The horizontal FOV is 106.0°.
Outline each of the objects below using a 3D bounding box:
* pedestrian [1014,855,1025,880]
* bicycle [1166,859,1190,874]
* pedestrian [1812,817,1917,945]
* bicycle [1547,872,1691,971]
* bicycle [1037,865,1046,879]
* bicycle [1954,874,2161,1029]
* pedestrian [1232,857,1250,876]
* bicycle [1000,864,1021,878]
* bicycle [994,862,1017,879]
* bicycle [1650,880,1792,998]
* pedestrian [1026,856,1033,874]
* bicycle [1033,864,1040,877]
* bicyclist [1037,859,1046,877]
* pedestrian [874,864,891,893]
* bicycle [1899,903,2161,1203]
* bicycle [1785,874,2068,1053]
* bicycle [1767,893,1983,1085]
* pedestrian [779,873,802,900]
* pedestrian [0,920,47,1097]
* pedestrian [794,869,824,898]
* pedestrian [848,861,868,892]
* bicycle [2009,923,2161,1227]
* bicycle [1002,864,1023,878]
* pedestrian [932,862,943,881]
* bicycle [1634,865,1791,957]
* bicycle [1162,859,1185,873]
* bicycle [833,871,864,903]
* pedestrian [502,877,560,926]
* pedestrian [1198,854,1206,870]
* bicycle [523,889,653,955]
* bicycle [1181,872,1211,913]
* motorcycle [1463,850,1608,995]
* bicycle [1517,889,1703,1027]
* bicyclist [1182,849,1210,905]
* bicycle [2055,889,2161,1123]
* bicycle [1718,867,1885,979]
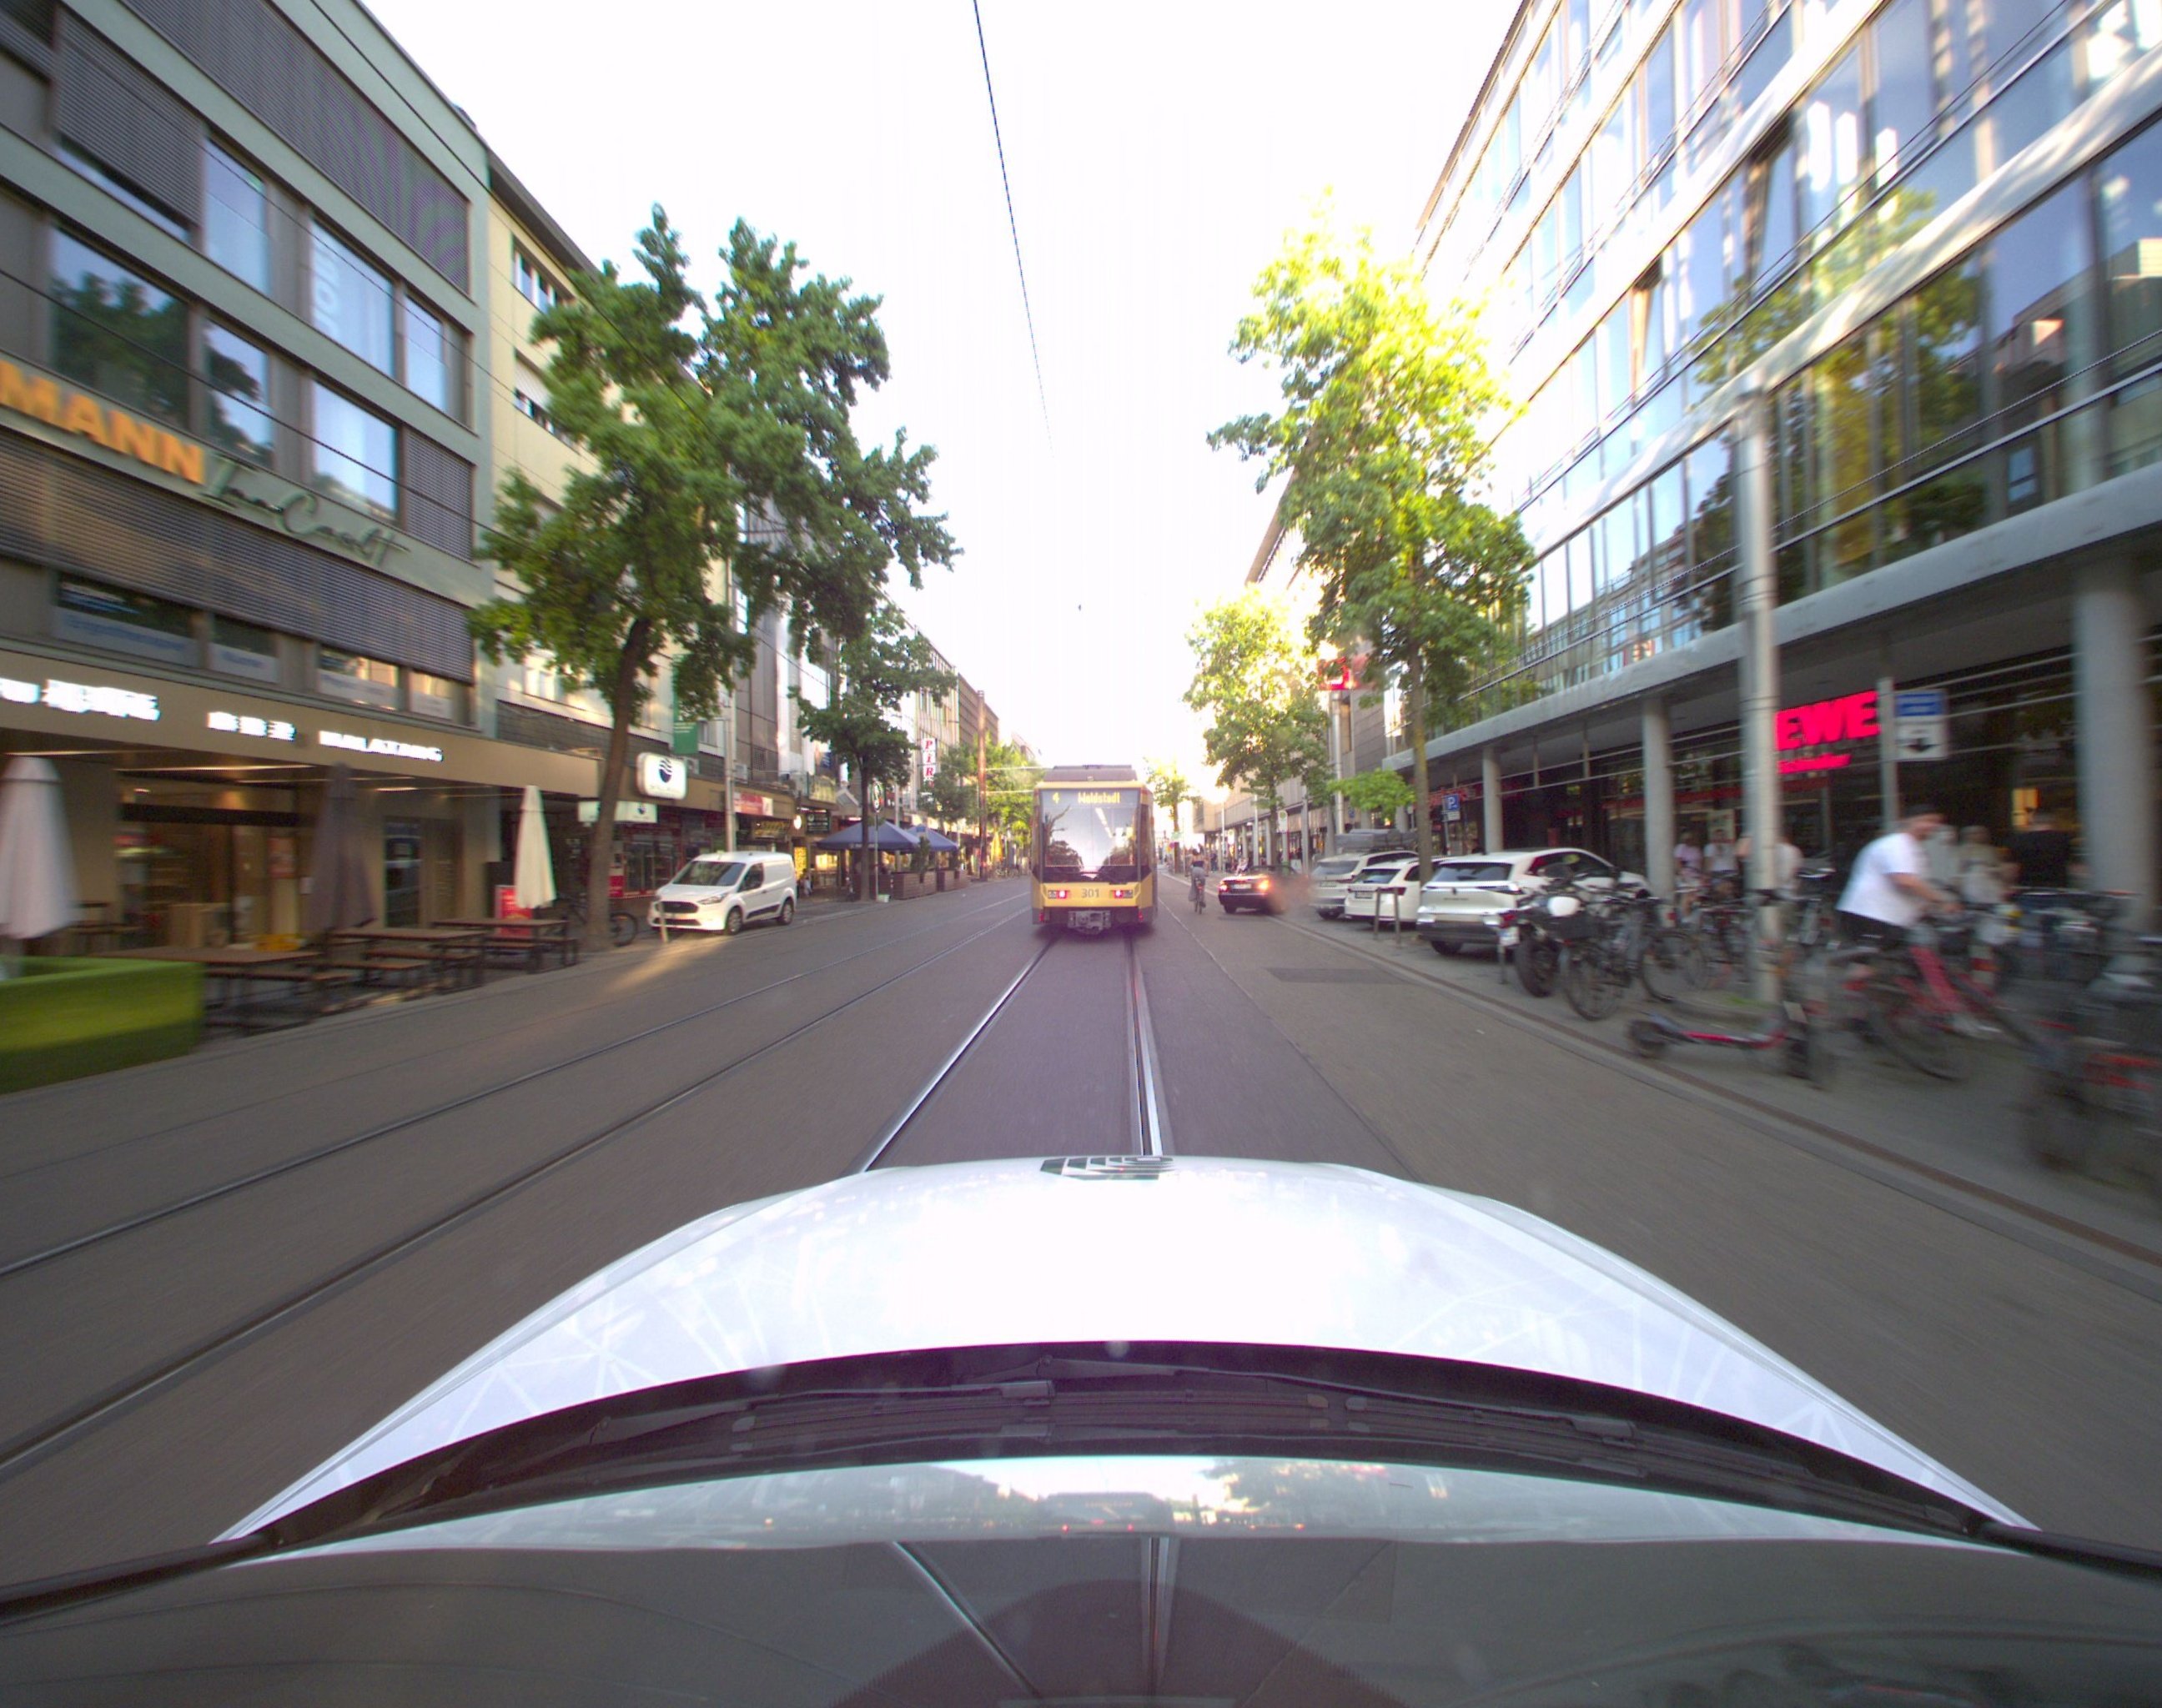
[{"bbox_3d":[-4.778,1.069,63.084,0.749,1.880,0.575,1,-2,-2],"label":"pedestrian"},{"bbox_3d":[9.886,1.274,83.229,2.322,1.472,0.790,-1,-1,-2],"label":"bicycle"},{"bbox_3d":[10.762,0.350,11.210,0.677,1.699,0.806,-1,1,2],"label":"pedestrian"},{"bbox_3d":[7.140,0.850,10.793,1.756,1.117,0.909,-2,-1,-32],"label":"bicycle"},{"bbox_3d":[-3.068,1.413,63.687,0.639,1.023,1.589,0,0,0],"label":"bicycle"},{"bbox_3d":[8.409,0.758,6.983,1.838,1.094,0.817,-2,0,-29],"label":"bicycle"},{"bbox_3d":[11.759,0.927,59.800,1.107,1.328,0.927,-3,0,3],"label":"pedestrian"},{"bbox_3d":[-6.104,1.456,70.181,1.728,1.126,0.563,2,-2,-2],"label":"bicycle"},{"bbox_3d":[-6.152,1.320,66.002,1.797,1.360,0.658,2,-2,-10],"label":"bicycle"},{"bbox_3d":[6.973,0.881,8.861,1.601,1.033,0.548,-6,1,-27],"label":"bicycle"},{"bbox_3d":[-4.836,1.065,76.563,0.549,1.687,0.575,1,-2,-2],"label":"pedestrian"},{"bbox_3d":[-4.171,1.527,76.159,0.610,1.126,2.249,2,-1,-2],"label":"bicycle"},{"bbox_3d":[-3.074,1.111,63.757,0.618,1.416,0.700,-1,-1,0],"label":"bicyclist"},{"bbox_3d":[-8.746,1.080,35.886,0.556,1.256,0.606,2,-1,3],"label":"pedestrian"},{"bbox_3d":[5.262,0.922,4.352,1.999,1.130,0.674,-4,0,-28],"label":"bicycle"},{"bbox_3d":[6.772,0.811,6.531,1.998,1.148,0.694,-4,0,-16],"label":"bicycle"},{"bbox_3d":[5.890,0.909,6.015,1.839,1.076,0.618,-4,1,-30],"label":"bicycle"},{"bbox_3d":[-11.153,1.251,31.295,0.448,1.029,0.666,1,-1,32],"label":"pedestrian"},{"bbox_3d":[-8.824,1.230,6.431,0.577,1.378,0.565,-1,-1,3],"label":"pedestrian"},{"bbox_3d":[-10.866,1.183,32.531,0.816,1.120,0.781,2,-1,12],"label":"pedestrian"},{"bbox_3d":[-9.501,0.958,34.723,0.601,1.256,0.561,2,-1,4],"label":"pedestrian"},{"bbox_3d":[5.144,0.962,3.910,1.753,1.076,0.489,-3,0,-28],"label":"bicycle"},{"bbox_3d":[-5.699,1.405,67.759,1.730,1.126,0.612,2,-2,-4],"label":"bicycle"},{"bbox_3d":[-10.146,1.260,57.707,0.571,1.319,0.726,1,-1,3],"label":"pedestrian"},{"bbox_3d":[8.767,0.755,11.314,1.751,1.117,0.929,-3,-1,-22],"label":"bicycle"},{"bbox_3d":[9.943,1.291,87.323,2.322,1.472,0.790,-1,-1,-2],"label":"bicycle"},{"bbox_3d":[-8.750,1.228,30.620,0.815,1.103,2.149,-1,0,-23],"label":"bicycle"},{"bbox_3d":[-12.805,1.089,18.981,0.774,1.095,0.730,2,-1,2],"label":"pedestrian"},{"bbox_3d":[12.746,0.815,85.702,0.698,1.684,0.681,-3,0,2],"label":"pedestrian"},{"bbox_3d":[-9.231,1.241,15.342,0.605,1.068,2.032,-2,-1,32],"label":"bicycle"},{"bbox_3d":[3.247,1.070,23.065,0.653,1.060,2.058,0,0,3],"label":"bicycle"},{"bbox_3d":[5.484,0.742,9.761,2.217,1.471,0.786,-3,1,-42],"label":"motorcycle"},{"bbox_3d":[5.253,0.963,8.069,1.755,1.117,0.799,-2,0,-30],"label":"bicycle"},{"bbox_3d":[3.245,0.644,22.997,0.724,1.527,0.734,0,-1,2],"label":"bicyclist"},{"bbox_3d":[6.418,0.798,4.644,1.686,1.138,0.476,-4,0,-18],"label":"bicycle"},{"bbox_3d":[8.522,0.770,9.628,1.795,1.117,0.837,-3,-1,-27],"label":"bicycle"}]
